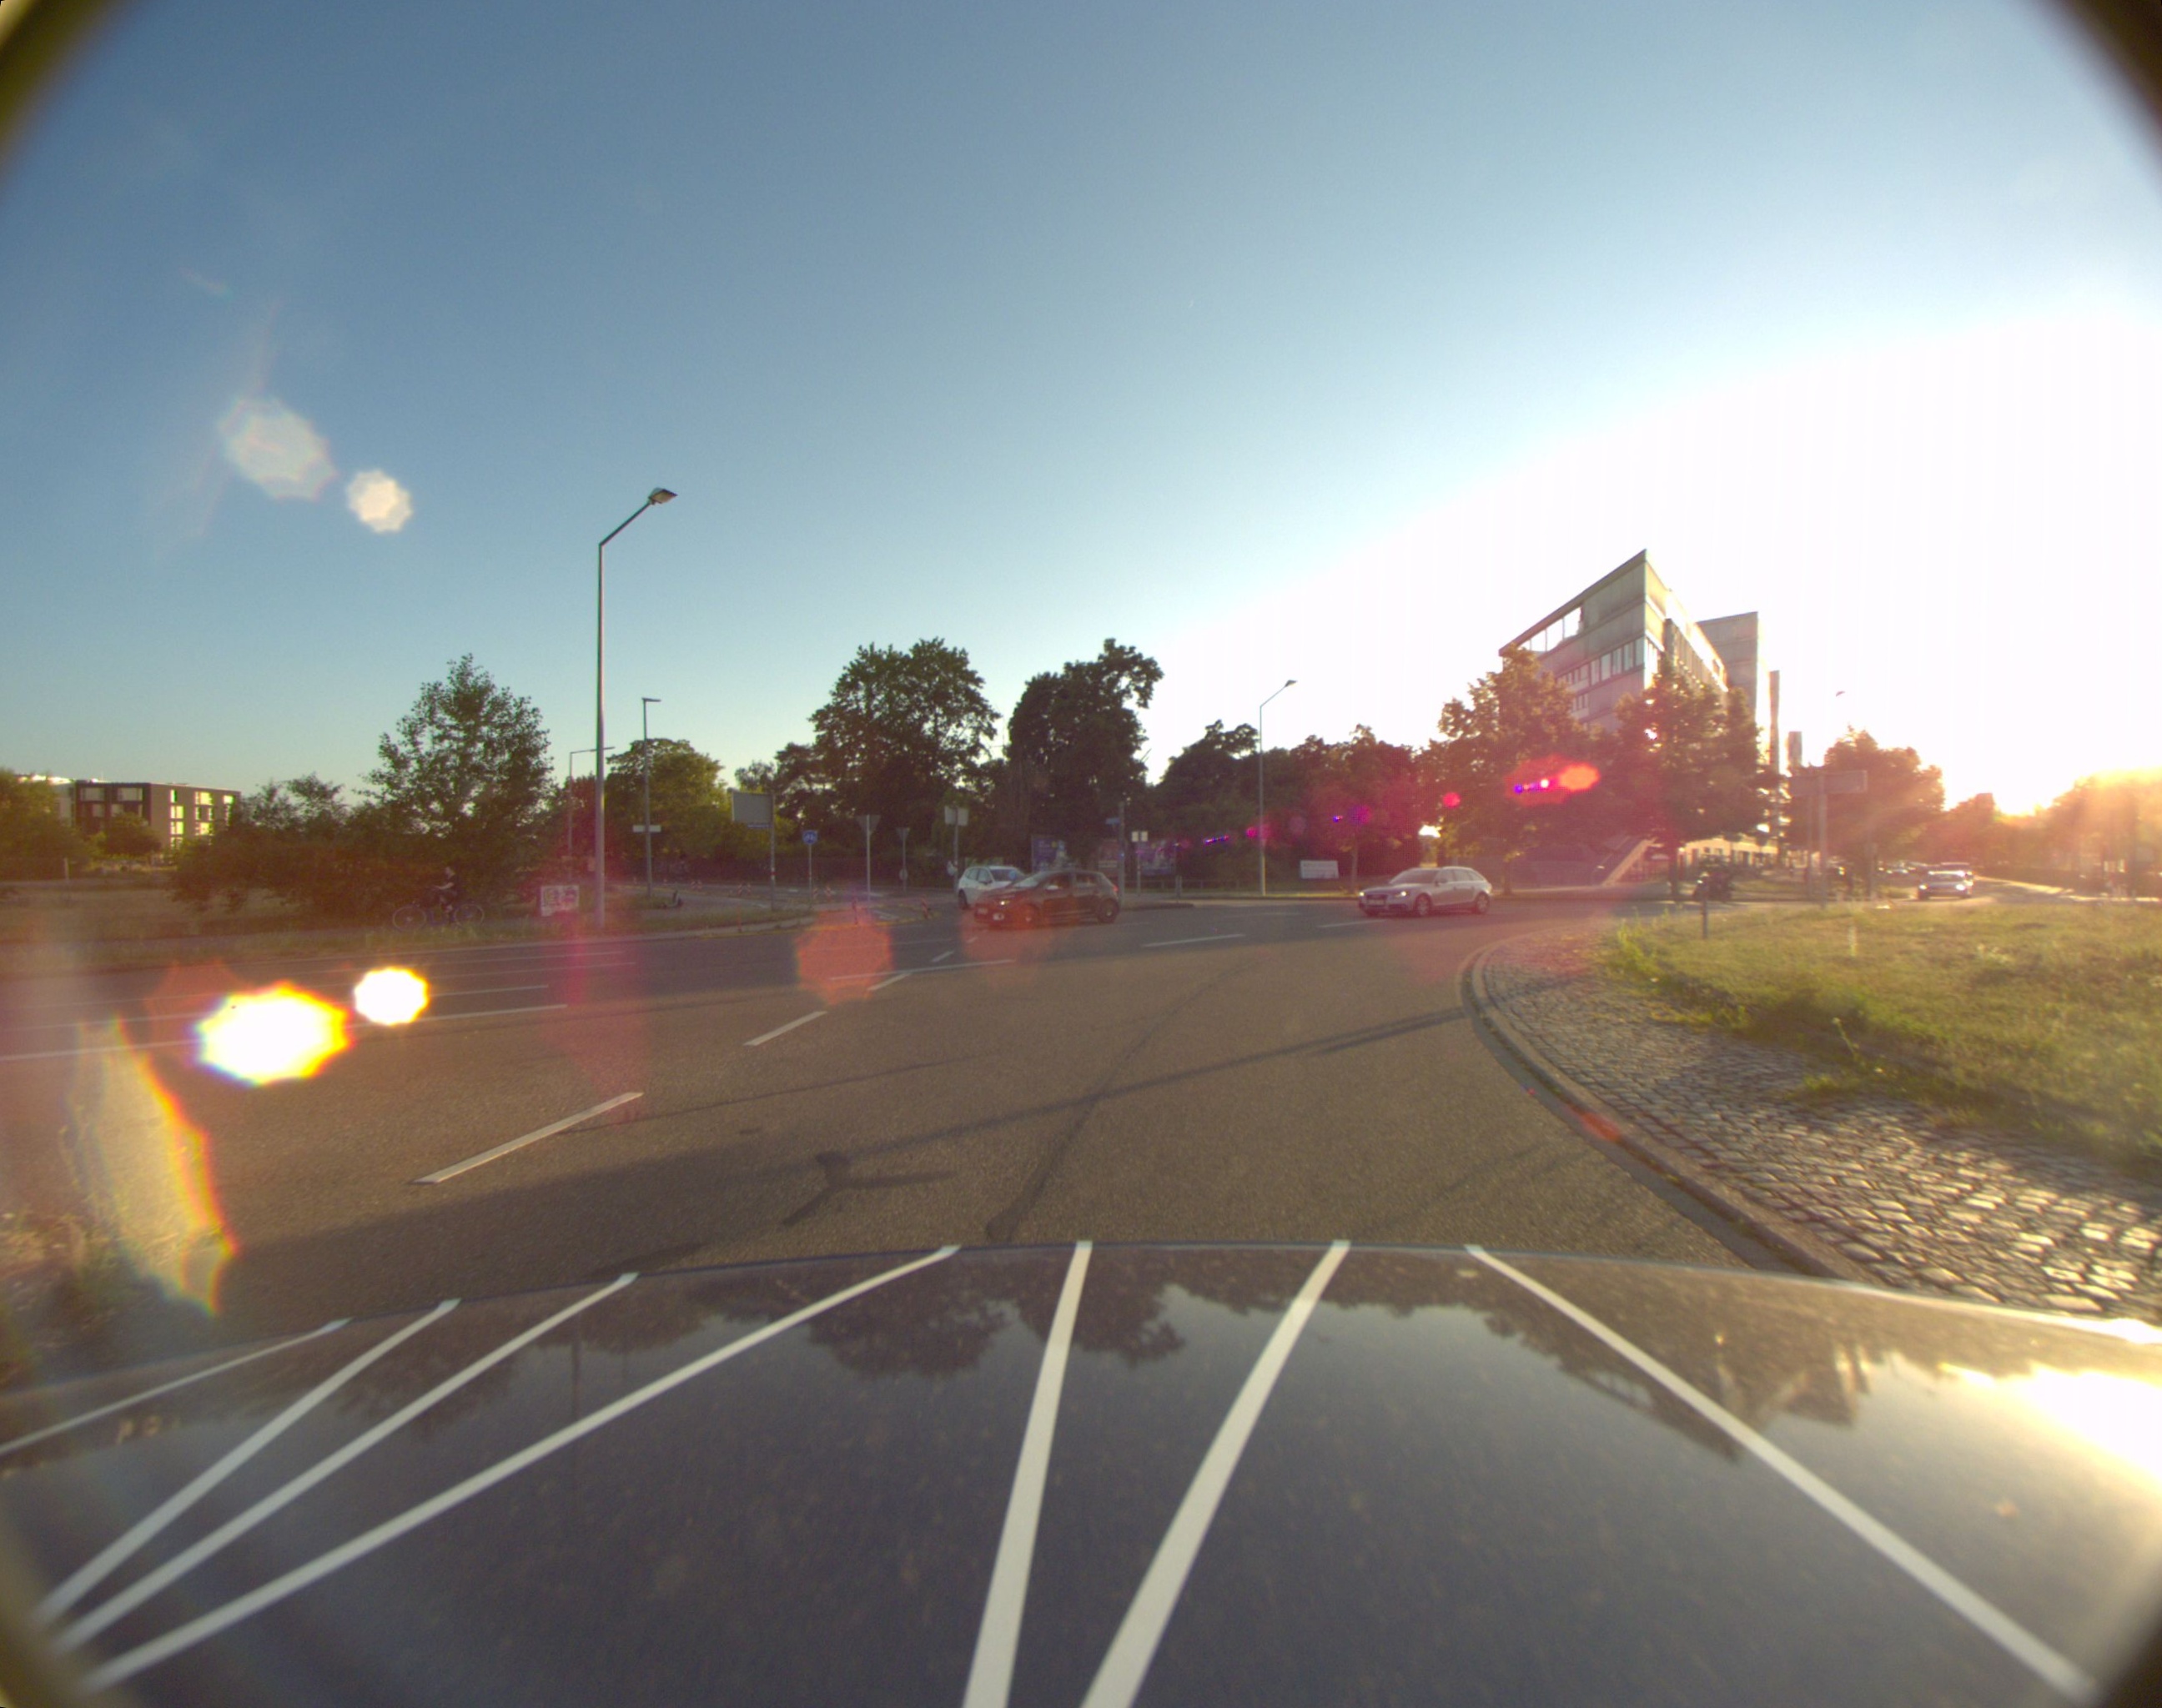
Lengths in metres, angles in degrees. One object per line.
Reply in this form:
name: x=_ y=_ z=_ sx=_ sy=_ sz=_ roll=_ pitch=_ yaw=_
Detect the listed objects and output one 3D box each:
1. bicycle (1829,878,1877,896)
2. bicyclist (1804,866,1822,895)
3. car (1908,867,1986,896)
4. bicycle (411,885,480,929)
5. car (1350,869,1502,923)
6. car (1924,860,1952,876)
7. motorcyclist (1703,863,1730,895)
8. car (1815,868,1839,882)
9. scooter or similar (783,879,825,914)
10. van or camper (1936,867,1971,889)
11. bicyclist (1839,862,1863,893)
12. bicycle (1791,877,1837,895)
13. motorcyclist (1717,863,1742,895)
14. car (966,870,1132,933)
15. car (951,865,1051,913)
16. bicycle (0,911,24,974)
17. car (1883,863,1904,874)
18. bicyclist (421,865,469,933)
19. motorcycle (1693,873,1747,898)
bicycle: x=43.879 y=1.863 z=43.210 sx=0.438 sy=1.016 sz=1.858 roll=0 pitch=-1 yaw=-37
bicyclist: x=41.533 y=1.502 z=43.116 sx=0.682 sy=1.638 sz=0.685 roll=0 pitch=0 yaw=36
car: x=47.843 y=1.497 z=41.982 sx=4.057 sy=1.472 sz=1.888 roll=0 pitch=0 yaw=-27
bicycle: x=-16.784 y=1.373 z=20.092 sx=0.279 sy=1.082 sz=1.375 roll=0 pitch=0 yaw=34
car: x=10.050 y=1.142 z=22.034 sx=4.456 sy=1.414 sz=1.799 roll=1 pitch=-1 yaw=-31
car: x=99.768 y=1.592 z=88.484 sx=1.715 sy=1.827 sz=4.008 roll=-1 pitch=0 yaw=43
motorcyclist: x=28.365 y=1.116 z=33.923 sx=0.715 sy=1.408 sz=0.636 roll=0 pitch=0 yaw=-9
car: x=78.755 y=2.170 z=80.197 sx=4.009 sy=1.455 sz=1.798 roll=1 pitch=-1 yaw=-45
scooter or similar: x=-9.579 y=1.450 z=26.280 sx=0.441 sy=1.156 sz=1.386 roll=0 pitch=0 yaw=31
van or camper: x=84.662 y=2.271 z=73.710 sx=5.339 sy=1.946 sz=1.994 roll=0 pitch=0 yaw=-39
bicyclist: x=43.634 y=1.308 z=43.050 sx=0.806 sy=1.745 sz=0.847 roll=0 pitch=0 yaw=-38
bicycle: x=41.419 y=1.798 z=42.946 sx=1.858 sy=1.016 sz=0.309 roll=0 pitch=0 yaw=36
motorcyclist: x=29.017 y=1.109 z=33.999 sx=0.594 sy=1.400 sz=0.636 roll=0 pitch=0 yaw=-8
car: x=-0.788 y=1.166 z=19.828 sx=4.008 sy=1.455 sz=1.798 roll=1 pitch=-1 yaw=-37
car: x=-2.918 y=1.173 z=27.018 sx=1.894 sy=1.549 sz=4.085 roll=0 pitch=-1 yaw=-33
bicycle: x=-19.259 y=1.588 z=12.757 sx=0.456 sy=1.079 sz=1.927 roll=0 pitch=1 yaw=-6
car: x=109.586 y=1.976 z=102.547 sx=4.009 sy=1.455 sz=1.798 roll=1 pitch=-1 yaw=-45
bicyclist: x=-16.792 y=1.169 z=20.078 sx=0.535 sy=1.733 sz=0.846 roll=0 pitch=0 yaw=34
motorcycle: x=28.536 y=1.400 z=33.947 sx=2.160 sy=1.094 sz=0.558 roll=0 pitch=0 yaw=-9
